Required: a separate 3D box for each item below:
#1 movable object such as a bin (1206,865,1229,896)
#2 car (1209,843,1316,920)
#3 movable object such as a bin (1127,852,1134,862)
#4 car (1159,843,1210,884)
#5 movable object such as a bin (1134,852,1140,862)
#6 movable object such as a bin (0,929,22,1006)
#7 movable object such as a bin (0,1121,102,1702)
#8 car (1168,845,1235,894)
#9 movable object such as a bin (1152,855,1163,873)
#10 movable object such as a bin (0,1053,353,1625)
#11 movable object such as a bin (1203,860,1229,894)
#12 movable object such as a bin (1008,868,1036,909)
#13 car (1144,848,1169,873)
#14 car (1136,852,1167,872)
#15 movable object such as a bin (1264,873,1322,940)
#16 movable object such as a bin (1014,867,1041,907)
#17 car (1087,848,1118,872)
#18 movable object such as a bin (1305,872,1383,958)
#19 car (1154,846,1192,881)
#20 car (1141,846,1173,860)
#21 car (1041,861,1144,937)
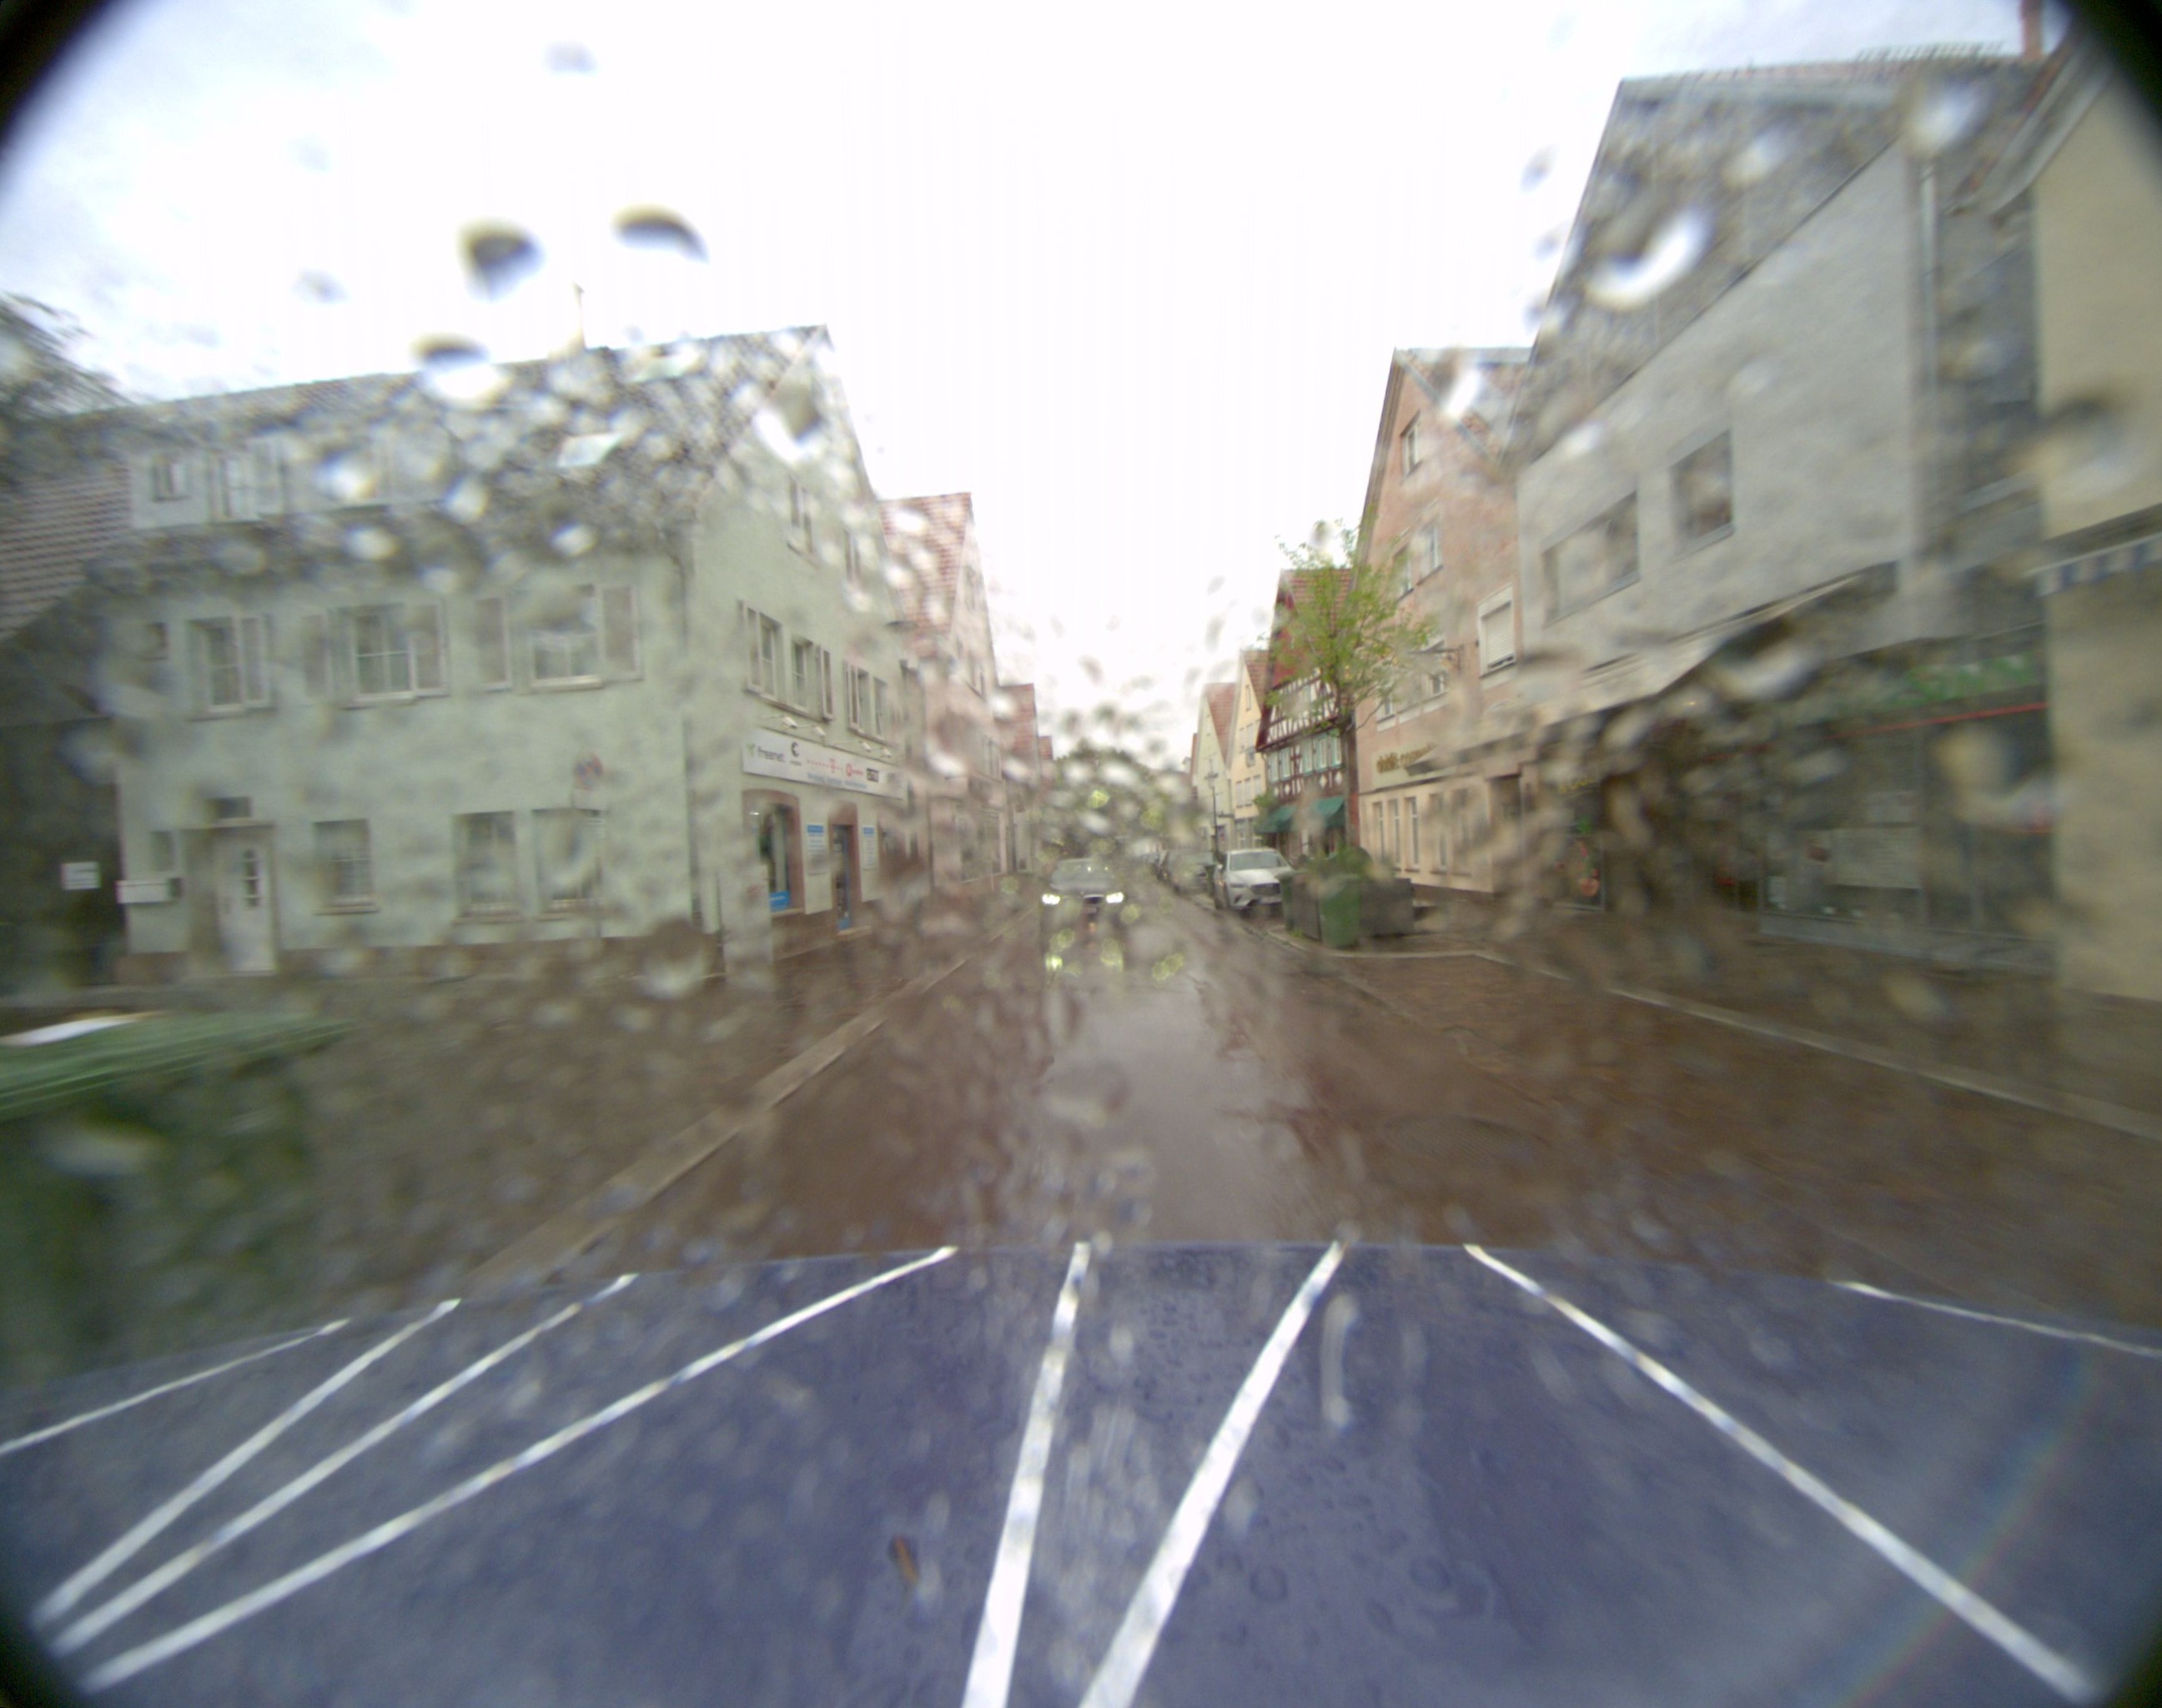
[{"bbox_3d":[4.448,0.871,24.733,0.658,0.950,0.562,-2,2,5],"label":"movable object such as a bin"},{"bbox_3d":[4.289,0.582,18.541,1.831,1.557,4.000,-2,1,3],"label":"car"},{"bbox_3d":[5.509,0.339,84.731,0.545,1.143,0.586,-1,2,29],"label":"movable object such as a bin"},{"bbox_3d":[4.781,0.399,35.576,1.838,1.665,4.539,-2,1,1],"label":"car"},{"bbox_3d":[6.212,0.338,84.063,0.477,1.162,0.489,-1,2,29],"label":"movable object such as a bin"},{"bbox_3d":[-15.610,1.625,10.733,0.565,1.074,0.546,-2,2,17],"label":"movable object such as a bin"},{"bbox_3d":[-2.751,1.274,1.570,0.660,1.238,0.542,-2,2,2],"label":"movable object such as a bin"},{"bbox_3d":[4.538,0.523,29.221,1.838,1.543,4.280,-6,1,1],"label":"car"},{"bbox_3d":[4.893,0.625,48.624,0.622,1.073,0.725,-2,2,4],"label":"movable object such as a bin"},{"bbox_3d":[-2.742,1.273,2.157,0.660,1.231,0.621,-2,2,2],"label":"movable object such as a bin"},{"bbox_3d":[4.517,0.767,25.424,0.749,1.076,0.763,-2,2,5],"label":"movable object such as a bin"},{"bbox_3d":[-1.799,1.043,23.181,0.720,1.194,0.578,-2,2,4],"label":"movable object such as a bin"},{"bbox_3d":[5.337,0.430,53.965,1.596,1.537,3.977,-2,1,4],"label":"car"},{"bbox_3d":[5.452,0.616,59.458,1.806,1.424,4.627,-2,0,-2],"label":"car"},{"bbox_3d":[3.793,0.929,13.628,0.817,1.100,0.610,-2,2,-2],"label":"movable object such as a bin"},{"bbox_3d":[-1.689,1.022,23.869,0.720,1.194,0.573,-2,2,4],"label":"movable object such as a bin"},{"bbox_3d":[1.576,0.388,53.838,1.998,1.445,4.000,-2,1,4],"label":"car"},{"bbox_3d":[3.800,0.868,11.016,0.817,1.100,0.610,-6,2,-2],"label":"movable object such as a bin"},{"bbox_3d":[5.093,0.471,42.705,1.775,1.665,4.479,-4,1,4],"label":"car"},{"bbox_3d":[8.906,-0.131,88.781,1.691,1.530,4.412,-1,0,36],"label":"car"},{"bbox_3d":[0.114,0.908,17.594,1.999,1.398,4.892,-3,0,-3],"label":"car"}]
